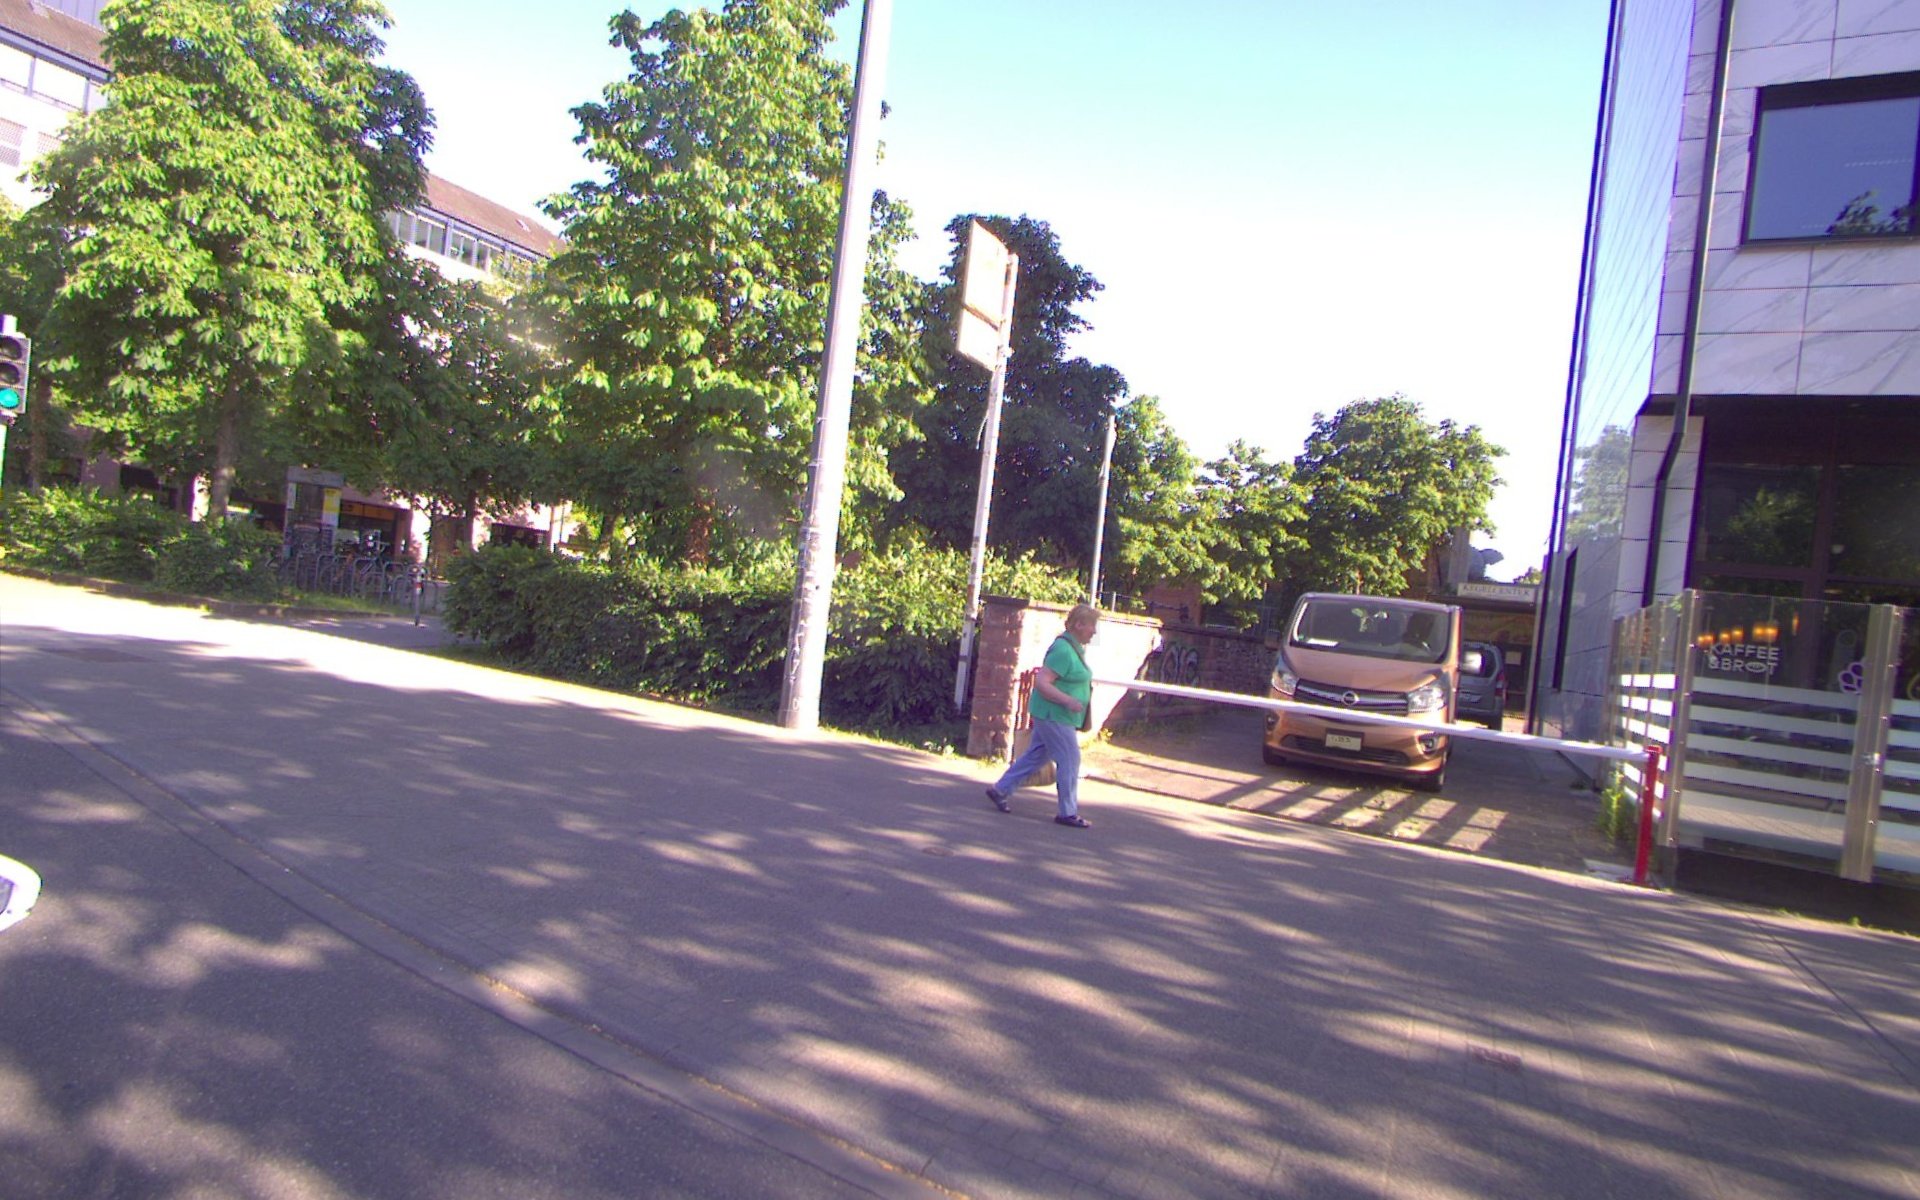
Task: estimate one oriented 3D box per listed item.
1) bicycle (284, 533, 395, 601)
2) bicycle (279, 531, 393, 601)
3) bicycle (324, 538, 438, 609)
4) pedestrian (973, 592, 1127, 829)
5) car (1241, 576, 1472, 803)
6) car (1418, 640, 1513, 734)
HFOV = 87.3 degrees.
[{"bbox_3d":[-13.801,-0.714,22.423,0.564,1.331,1.998,6,1,30],"label":"bicycle"},{"bbox_3d":[-13.471,-0.713,21.784,0.564,1.331,1.998,6,1,30],"label":"bicycle"},{"bbox_3d":[-12.247,-0.537,21.338,0.564,1.331,1.998,6,1,30],"label":"bicycle"},{"bbox_3d":[0.635,0.778,7.361,0.818,1.595,0.737,5,1,-11],"label":"pedestrian"},{"bbox_3d":[4.954,0.895,12.090,1.880,2.011,4.902,6,2,28],"label":"car"},{"bbox_3d":[11.002,1.849,21.872,1.567,1.692,3.616,6,0,28],"label":"car"}]
